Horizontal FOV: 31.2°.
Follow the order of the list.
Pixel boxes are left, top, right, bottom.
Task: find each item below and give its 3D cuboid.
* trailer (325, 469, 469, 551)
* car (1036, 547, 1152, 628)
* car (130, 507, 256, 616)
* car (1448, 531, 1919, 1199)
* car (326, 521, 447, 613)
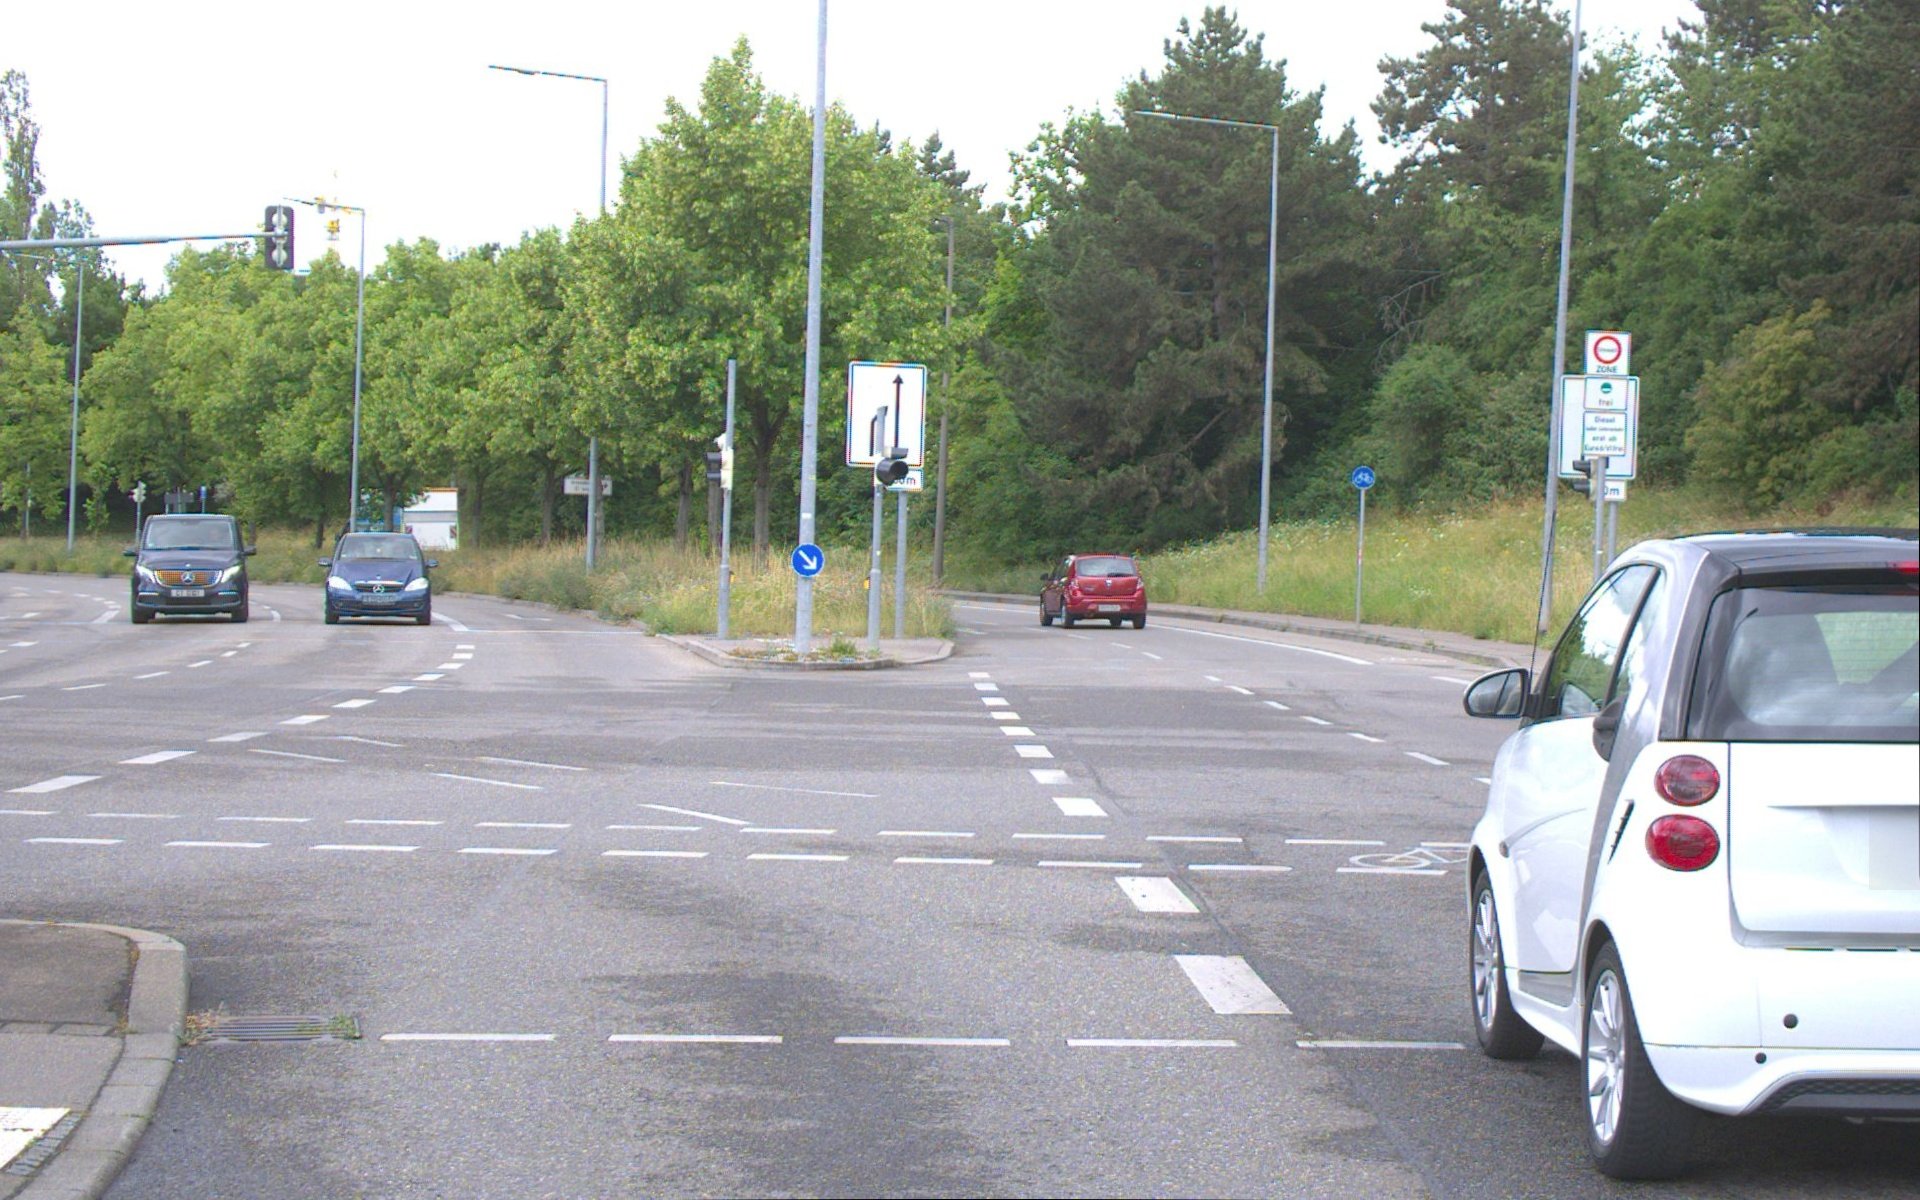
[{"bbox_3d":[-21.289,-3.373,129.772,2.747,3.002,6.086,1,1,-38],"label":"trailer"},{"bbox_3d":[2.741,-0.266,71.119,1.784,1.598,3.888,1,0,-7],"label":"car"},{"bbox_3d":[-13.295,-0.682,59.795,1.887,1.806,5.094,0,1,-10],"label":"car"},{"bbox_3d":[2.278,0.602,9.039,1.592,1.511,2.766,1,0,0],"label":"car"},{"bbox_3d":[-9.796,-0.569,58.889,1.735,1.503,3.661,1,0,-5],"label":"car"}]
